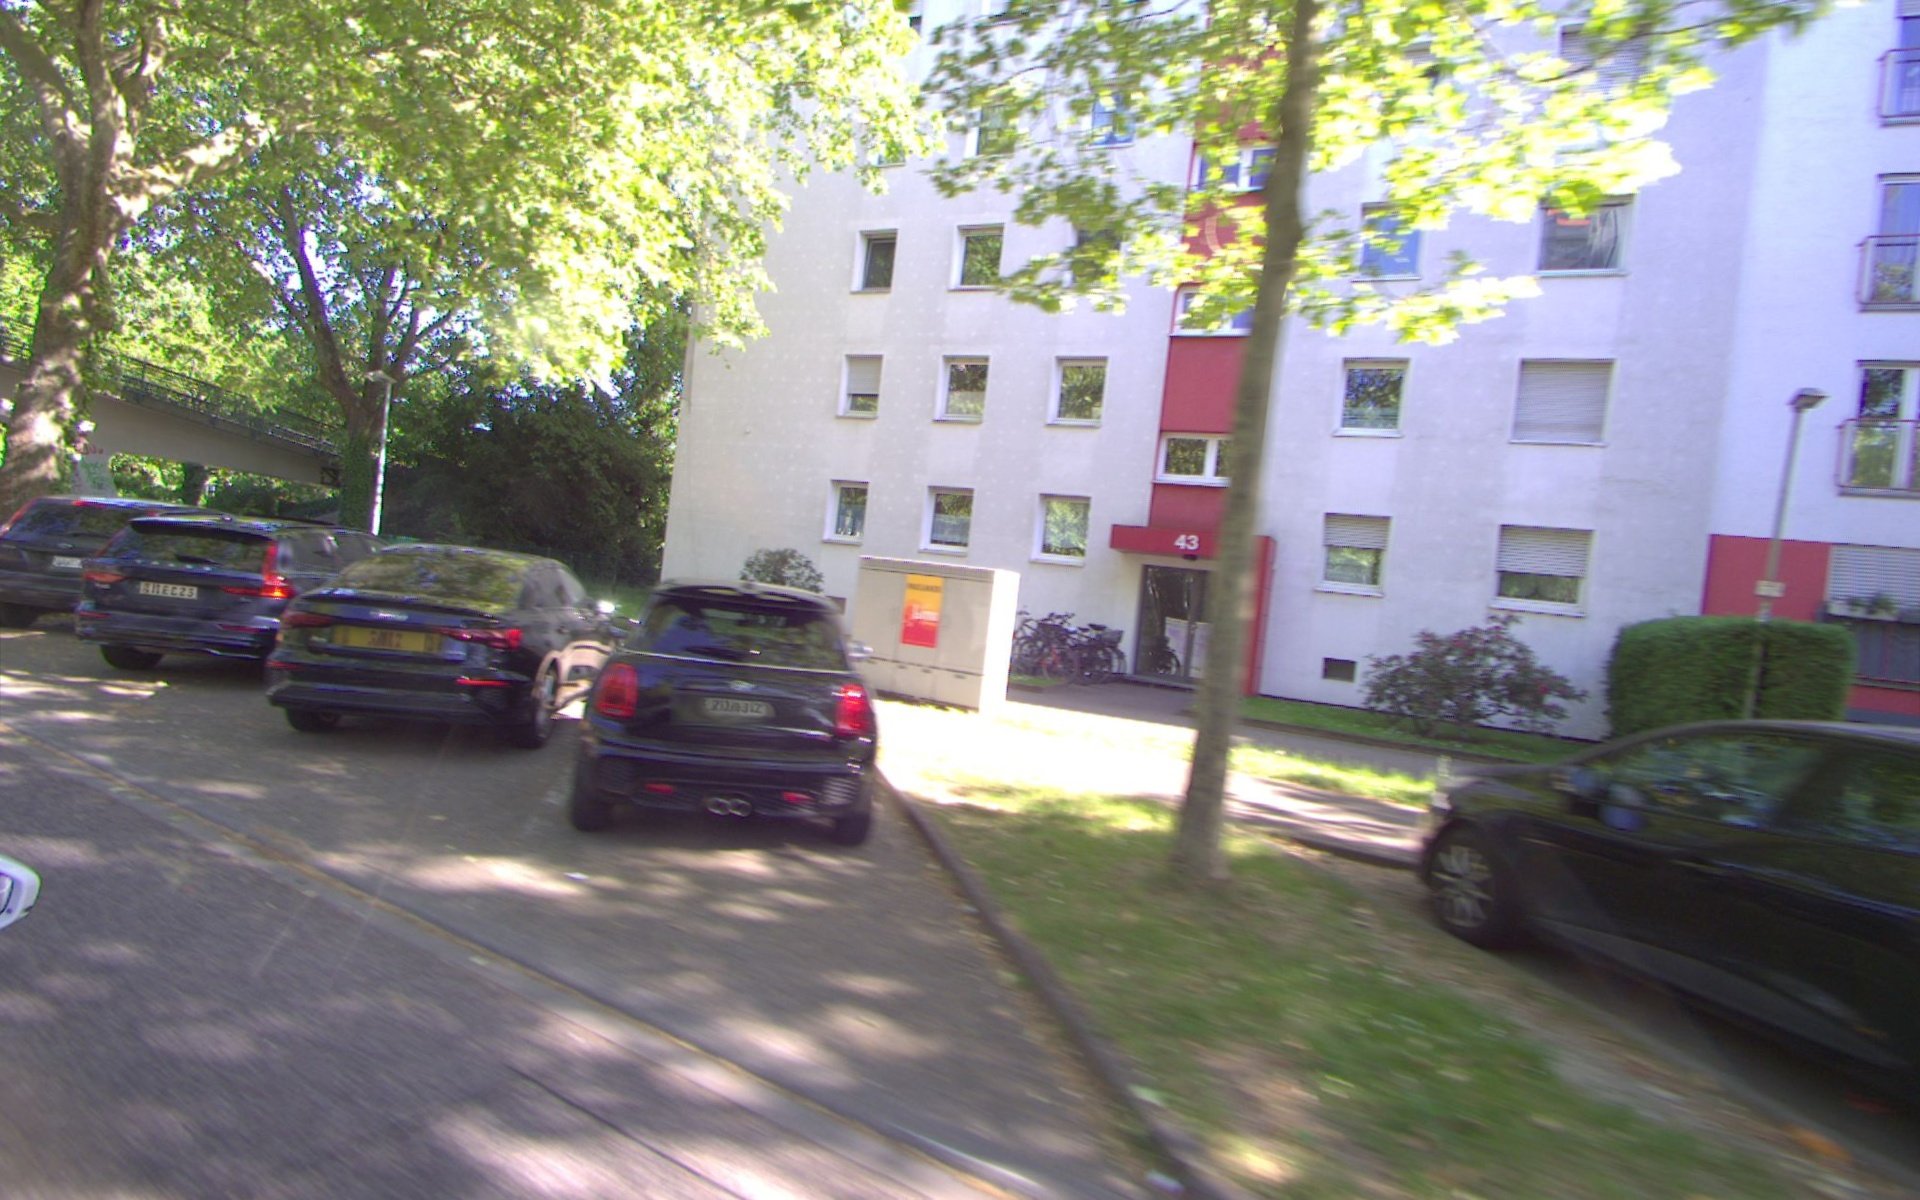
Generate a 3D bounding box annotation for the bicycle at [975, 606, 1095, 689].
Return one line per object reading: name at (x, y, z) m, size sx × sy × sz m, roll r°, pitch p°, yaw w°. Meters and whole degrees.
bicycle at (1.223, 0.767, 16.540) m, size 1.770 × 1.121 × 0.591 m, roll 7°, pitch 0°, yaw 31°

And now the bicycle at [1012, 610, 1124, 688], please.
bicycle at (1.899, 0.860, 17.788) m, size 1.770 × 1.121 × 0.591 m, roll 7°, pitch 0°, yaw 31°

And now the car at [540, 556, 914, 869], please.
car at (-1.568, 0.528, 7.126) m, size 1.753 × 1.487 × 3.988 m, roll 6°, pitch 2°, yaw -12°

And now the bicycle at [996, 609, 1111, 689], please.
bicycle at (1.586, 0.825, 17.221) m, size 1.770 × 1.121 × 0.591 m, roll 7°, pitch 1°, yaw 31°

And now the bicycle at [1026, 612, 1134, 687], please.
bicycle at (2.186, 0.900, 18.461) m, size 1.770 × 1.121 × 0.591 m, roll 7°, pitch 0°, yaw 31°

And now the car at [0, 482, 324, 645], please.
car at (-9.392, -0.456, 11.976) m, size 1.771 × 1.481 × 3.987 m, roll 6°, pitch 2°, yaw -13°

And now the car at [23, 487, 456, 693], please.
car at (-6.829, -0.146, 10.196) m, size 1.769 × 1.481 × 4.246 m, roll 6°, pitch 1°, yaw -9°

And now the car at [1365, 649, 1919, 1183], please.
car at (3.778, 1.185, 4.332) m, size 1.770 × 1.435 × 3.912 m, roll 6°, pitch 2°, yaw -12°

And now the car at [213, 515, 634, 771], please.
car at (-4.101, 0.218, 8.561) m, size 1.769 × 1.481 × 4.246 m, roll 6°, pitch 1°, yaw -9°
